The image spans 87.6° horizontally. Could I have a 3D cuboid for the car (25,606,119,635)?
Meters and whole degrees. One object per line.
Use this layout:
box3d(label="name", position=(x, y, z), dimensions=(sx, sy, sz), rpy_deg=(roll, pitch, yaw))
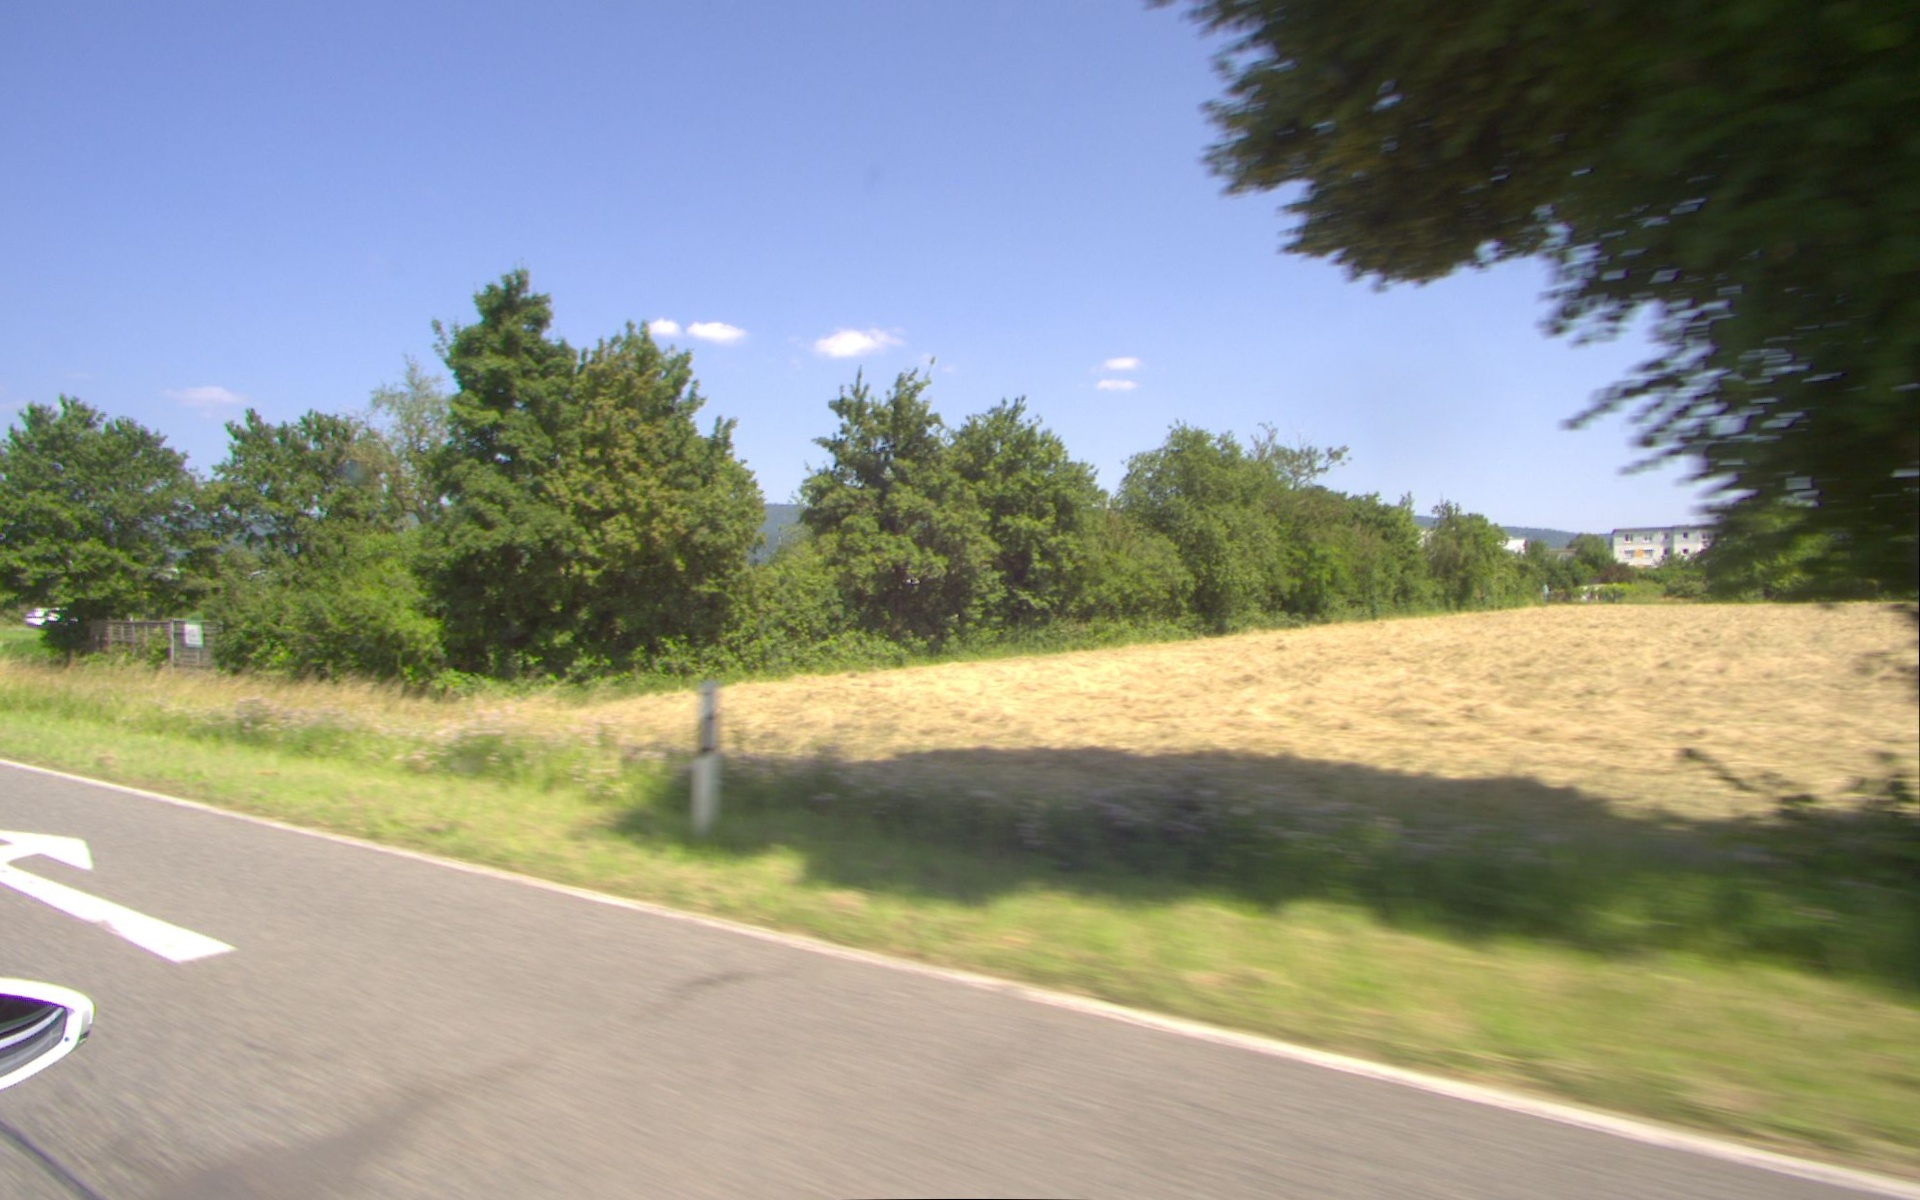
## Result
box3d(label="car", position=(-60.794, 1.362, 68.611), dimensions=(1.859, 1.893, 4.478), rpy_deg=(0, 0, 34))
